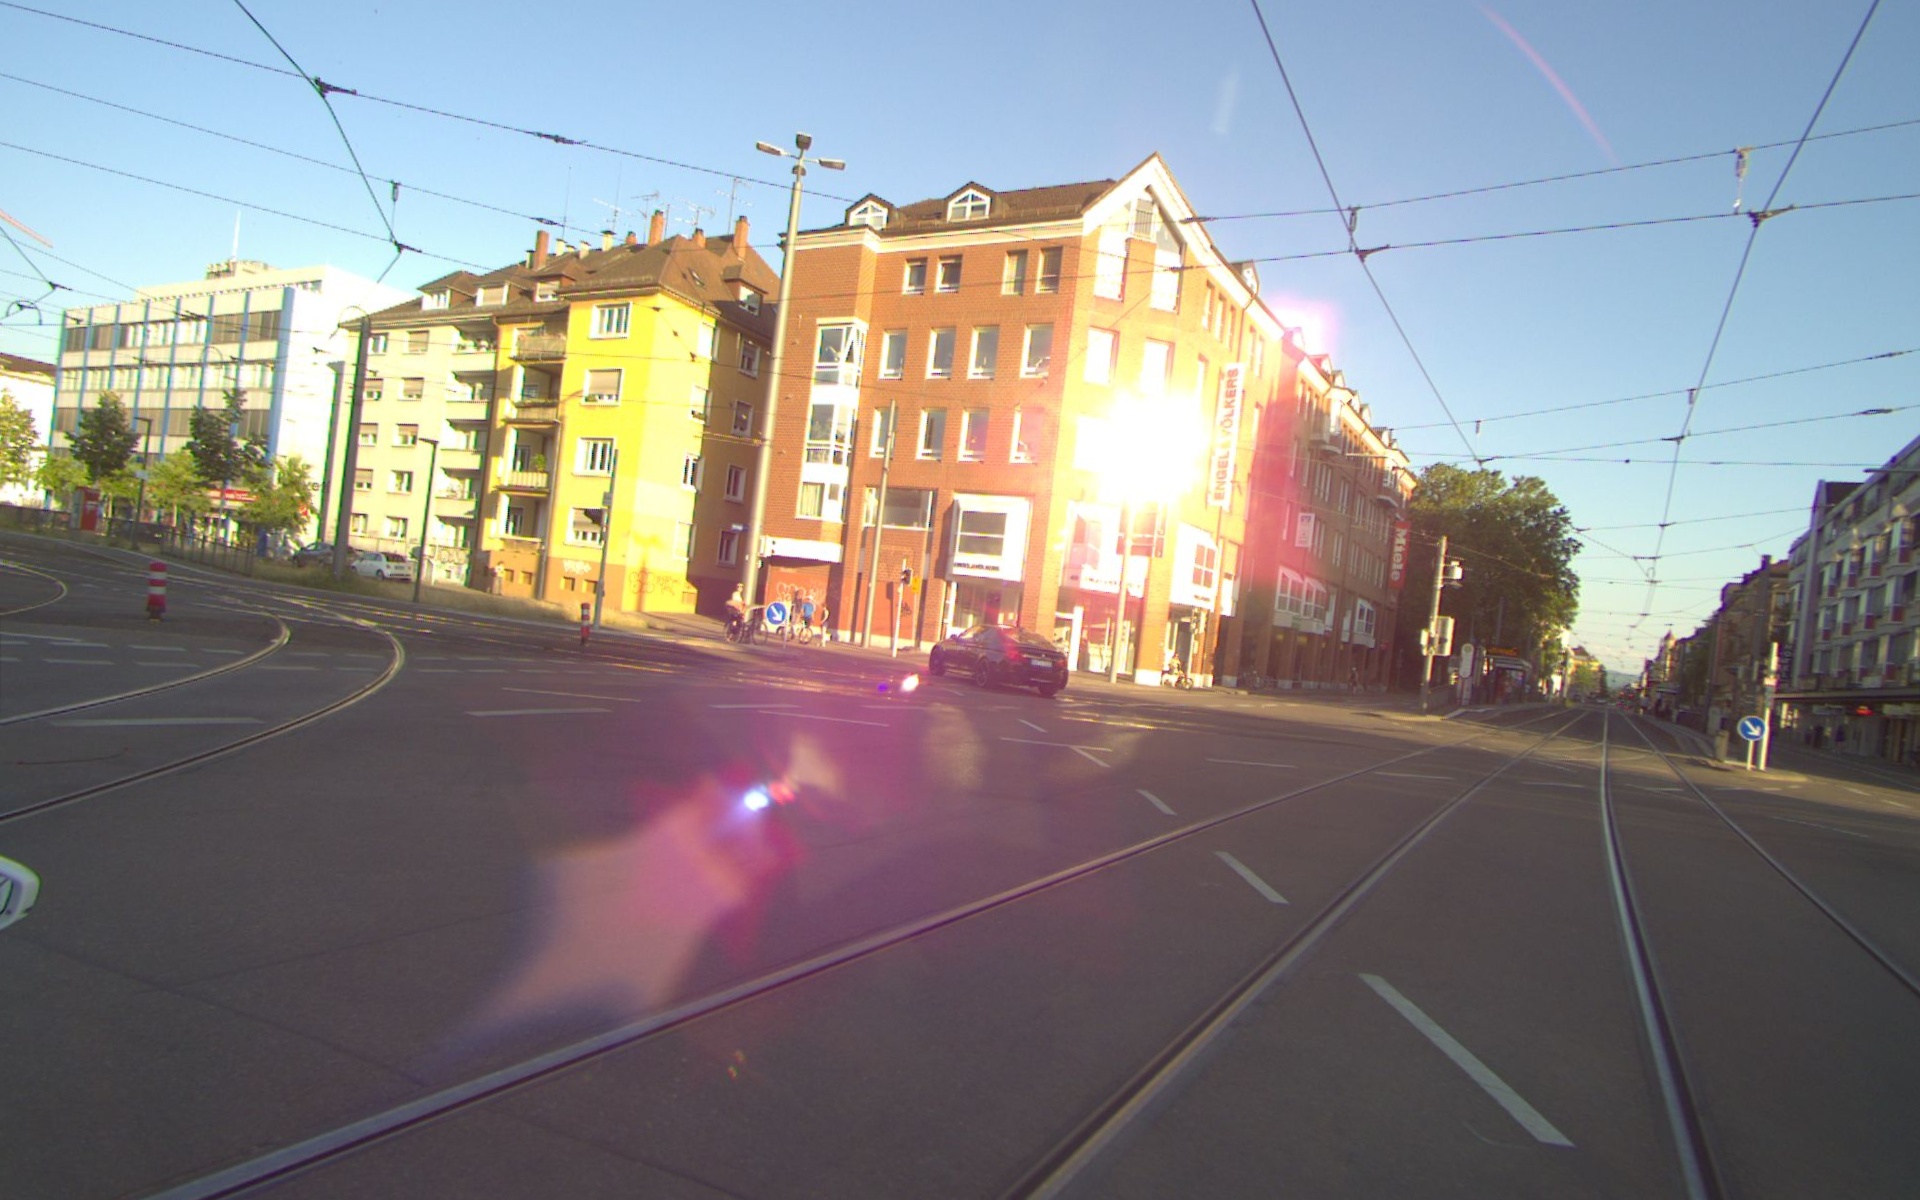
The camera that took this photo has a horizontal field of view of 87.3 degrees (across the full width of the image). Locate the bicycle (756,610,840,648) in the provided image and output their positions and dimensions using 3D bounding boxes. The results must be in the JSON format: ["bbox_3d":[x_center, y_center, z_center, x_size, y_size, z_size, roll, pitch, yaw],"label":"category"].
[{"bbox_3d":[-6.149,1.094,38.129,3.008,1.029,0.931,7,0,24],"label":"bicycle"}]

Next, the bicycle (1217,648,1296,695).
[{"bbox_3d":[14.185,3.418,48.183,3.254,1.747,1.067,7,1,33],"label":"bicycle"}]

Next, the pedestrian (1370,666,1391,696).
[{"bbox_3d":[31.123,6.012,74.431,1.069,2.039,1.083,7,1,28],"label":"pedestrian"}]

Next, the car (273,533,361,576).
[{"bbox_3d":[-35.281,-2.506,55.179,4.274,1.725,2.117,7,0,28],"label":"car"}]

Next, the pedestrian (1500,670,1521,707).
[{"bbox_3d":[31.851,5.102,58.205,0.797,2.039,0.677,7,1,30],"label":"pedestrian"}]

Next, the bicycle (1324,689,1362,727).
[{"bbox_3d":[23.300,6.519,61.114,1.278,2.038,3.941,7,0,31],"label":"bicycle"}]

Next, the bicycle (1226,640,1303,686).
[{"bbox_3d":[14.861,3.071,49.158,3.253,1.747,1.067,7,1,32],"label":"bicycle"}]

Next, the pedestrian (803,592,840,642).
[{"bbox_3d":[-5.344,0.655,38.812,0.857,1.800,0.917,7,0,21],"label":"pedestrian"}]

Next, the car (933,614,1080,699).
[{"bbox_3d":[0.978,1.259,23.668,1.821,1.513,4.274,7,-1,-20],"label":"car"}]

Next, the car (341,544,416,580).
[{"bbox_3d":[-30.738,-2.022,53.199,3.482,1.437,1.737,6,-1,28],"label":"car"}]

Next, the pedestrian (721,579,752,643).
[{"bbox_3d":[-6.286,0.303,28.279,0.507,1.729,0.418,7,1,30],"label":"pedestrian"}]

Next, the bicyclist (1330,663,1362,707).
[{"bbox_3d":[23.392,5.151,60.968,1.273,2.499,1.665,7,1,32],"label":"bicyclist"}]

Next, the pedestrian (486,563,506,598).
[{"bbox_3d":[-22.891,-0.966,49.622,0.704,1.619,0.728,6,1,-31],"label":"pedestrian"}]
